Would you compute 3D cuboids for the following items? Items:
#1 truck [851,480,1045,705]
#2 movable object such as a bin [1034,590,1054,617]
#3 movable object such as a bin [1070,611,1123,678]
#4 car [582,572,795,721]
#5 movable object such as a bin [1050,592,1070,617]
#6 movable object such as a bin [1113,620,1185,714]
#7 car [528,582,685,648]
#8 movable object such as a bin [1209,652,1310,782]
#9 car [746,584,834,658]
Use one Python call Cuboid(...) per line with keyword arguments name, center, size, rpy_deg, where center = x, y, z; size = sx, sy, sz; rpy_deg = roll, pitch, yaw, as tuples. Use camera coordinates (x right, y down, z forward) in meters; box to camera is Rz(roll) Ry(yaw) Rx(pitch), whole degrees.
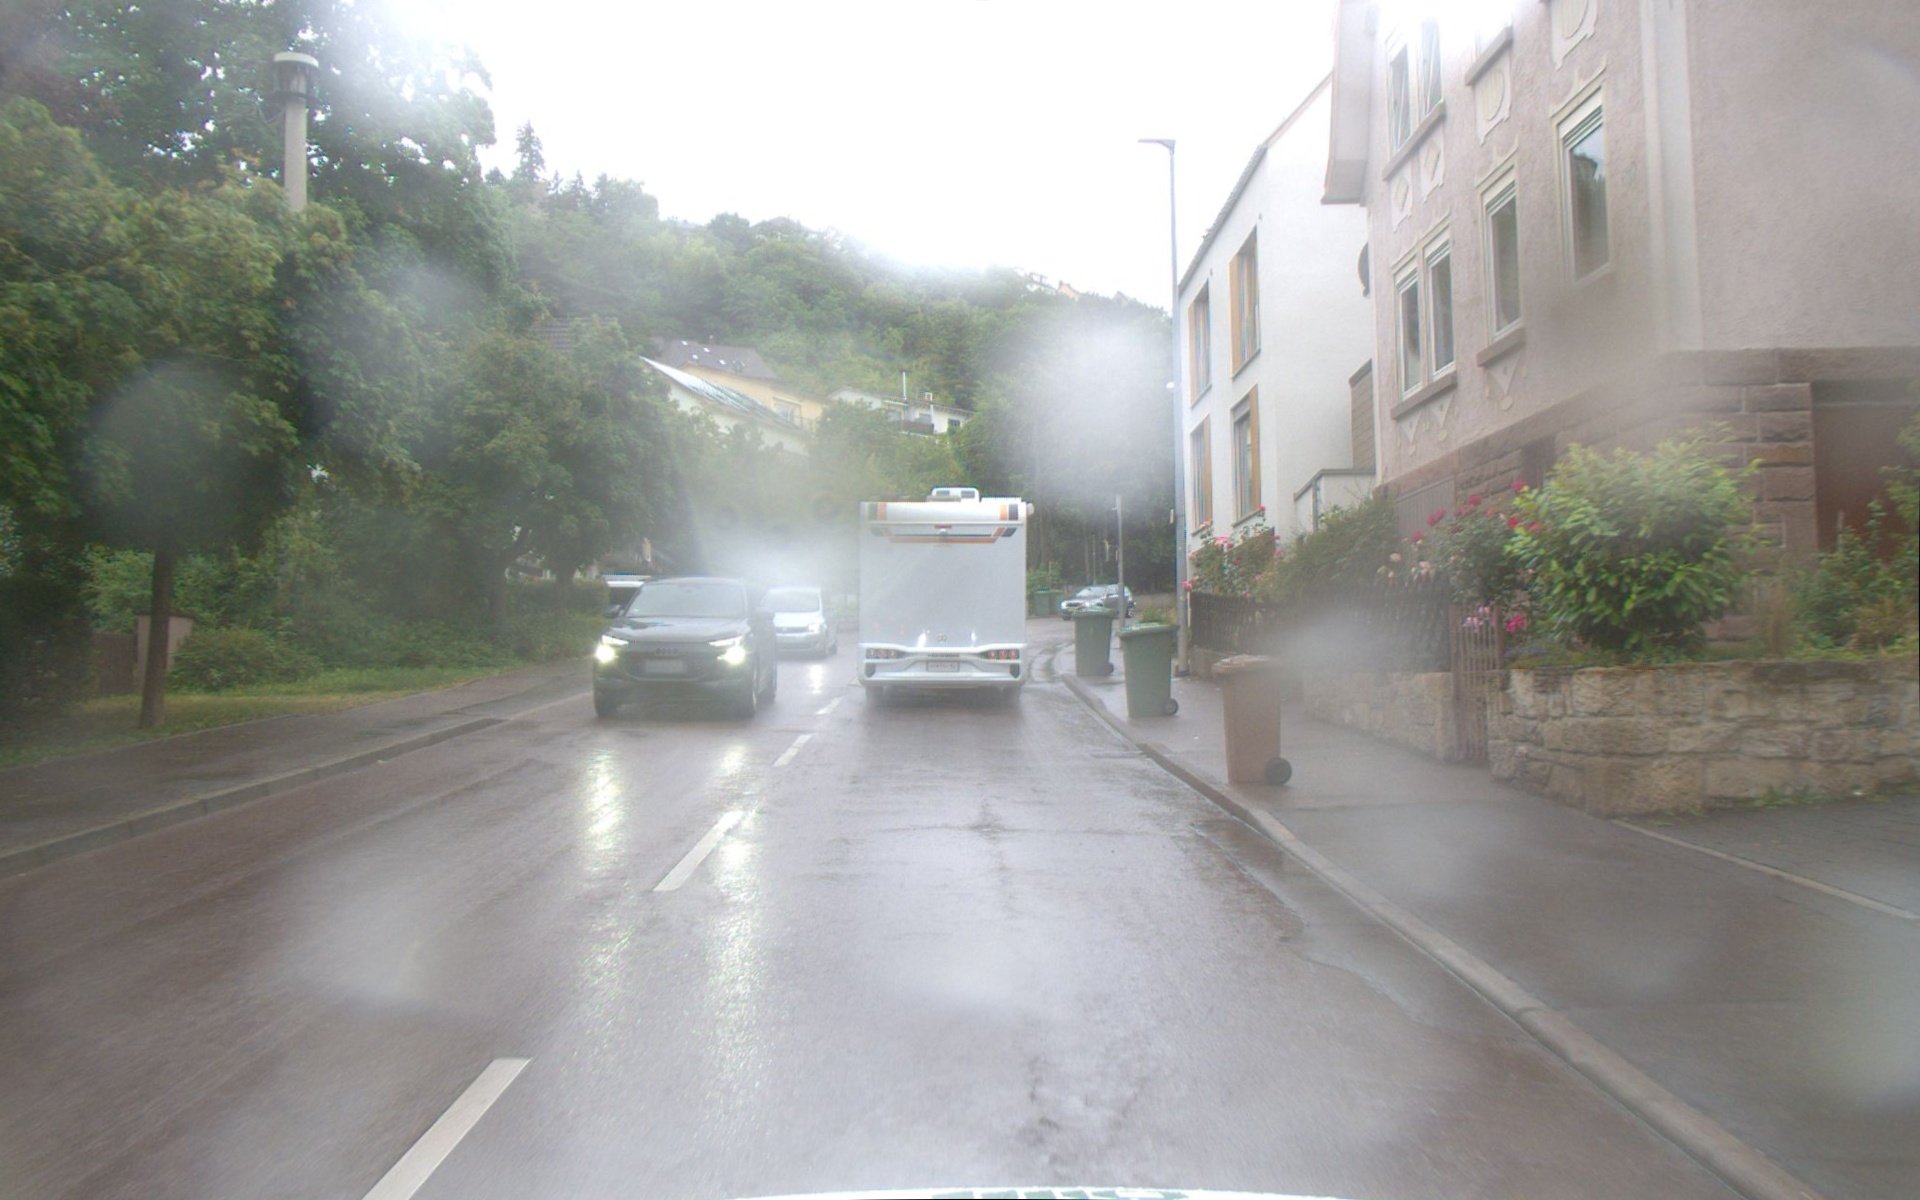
Cuboid(name="truck", center=(-0.214, -0.115, 24.156), size=(2.464, 2.867, 6.200), rpy_deg=(0, 0, -1))
Cuboid(name="movable object such as a bin", center=(3.693, 0.157, 72.419), size=(0.659, 1.159, 0.619), rpy_deg=(0, 0, -31))
Cuboid(name="movable object such as a bin", center=(2.236, 0.721, 27.223), size=(0.818, 1.079, 0.750), rpy_deg=(0, 0, 0))
Cuboid(name="car", center=(-3.236, 0.510, 20.577), size=(1.878, 1.652, 4.363), rpy_deg=(0, 0, 1))
Cuboid(name="movable object such as a bin", center=(4.384, 0.204, 72.792), size=(0.697, 1.107, 0.555), rpy_deg=(0, 0, -31))
Cuboid(name="movable object such as a bin", center=(2.249, 0.792, 19.765), size=(0.780, 1.089, 0.761), rpy_deg=(0, 0, 0))
Cuboid(name="car", center=(-10.048, 0.422, 47.182), size=(4.021, 1.831, 2.000), rpy_deg=(0, 0, 1))
Cuboid(name="movable object such as a bin", center=(2.224, 0.861, 12.325), size=(0.617, 0.913, 0.712), rpy_deg=(0, 0, -1))
Cuboid(name="car", center=(-3.797, 0.448, 37.480), size=(1.768, 1.581, 3.827), rpy_deg=(0, 0, -3))
